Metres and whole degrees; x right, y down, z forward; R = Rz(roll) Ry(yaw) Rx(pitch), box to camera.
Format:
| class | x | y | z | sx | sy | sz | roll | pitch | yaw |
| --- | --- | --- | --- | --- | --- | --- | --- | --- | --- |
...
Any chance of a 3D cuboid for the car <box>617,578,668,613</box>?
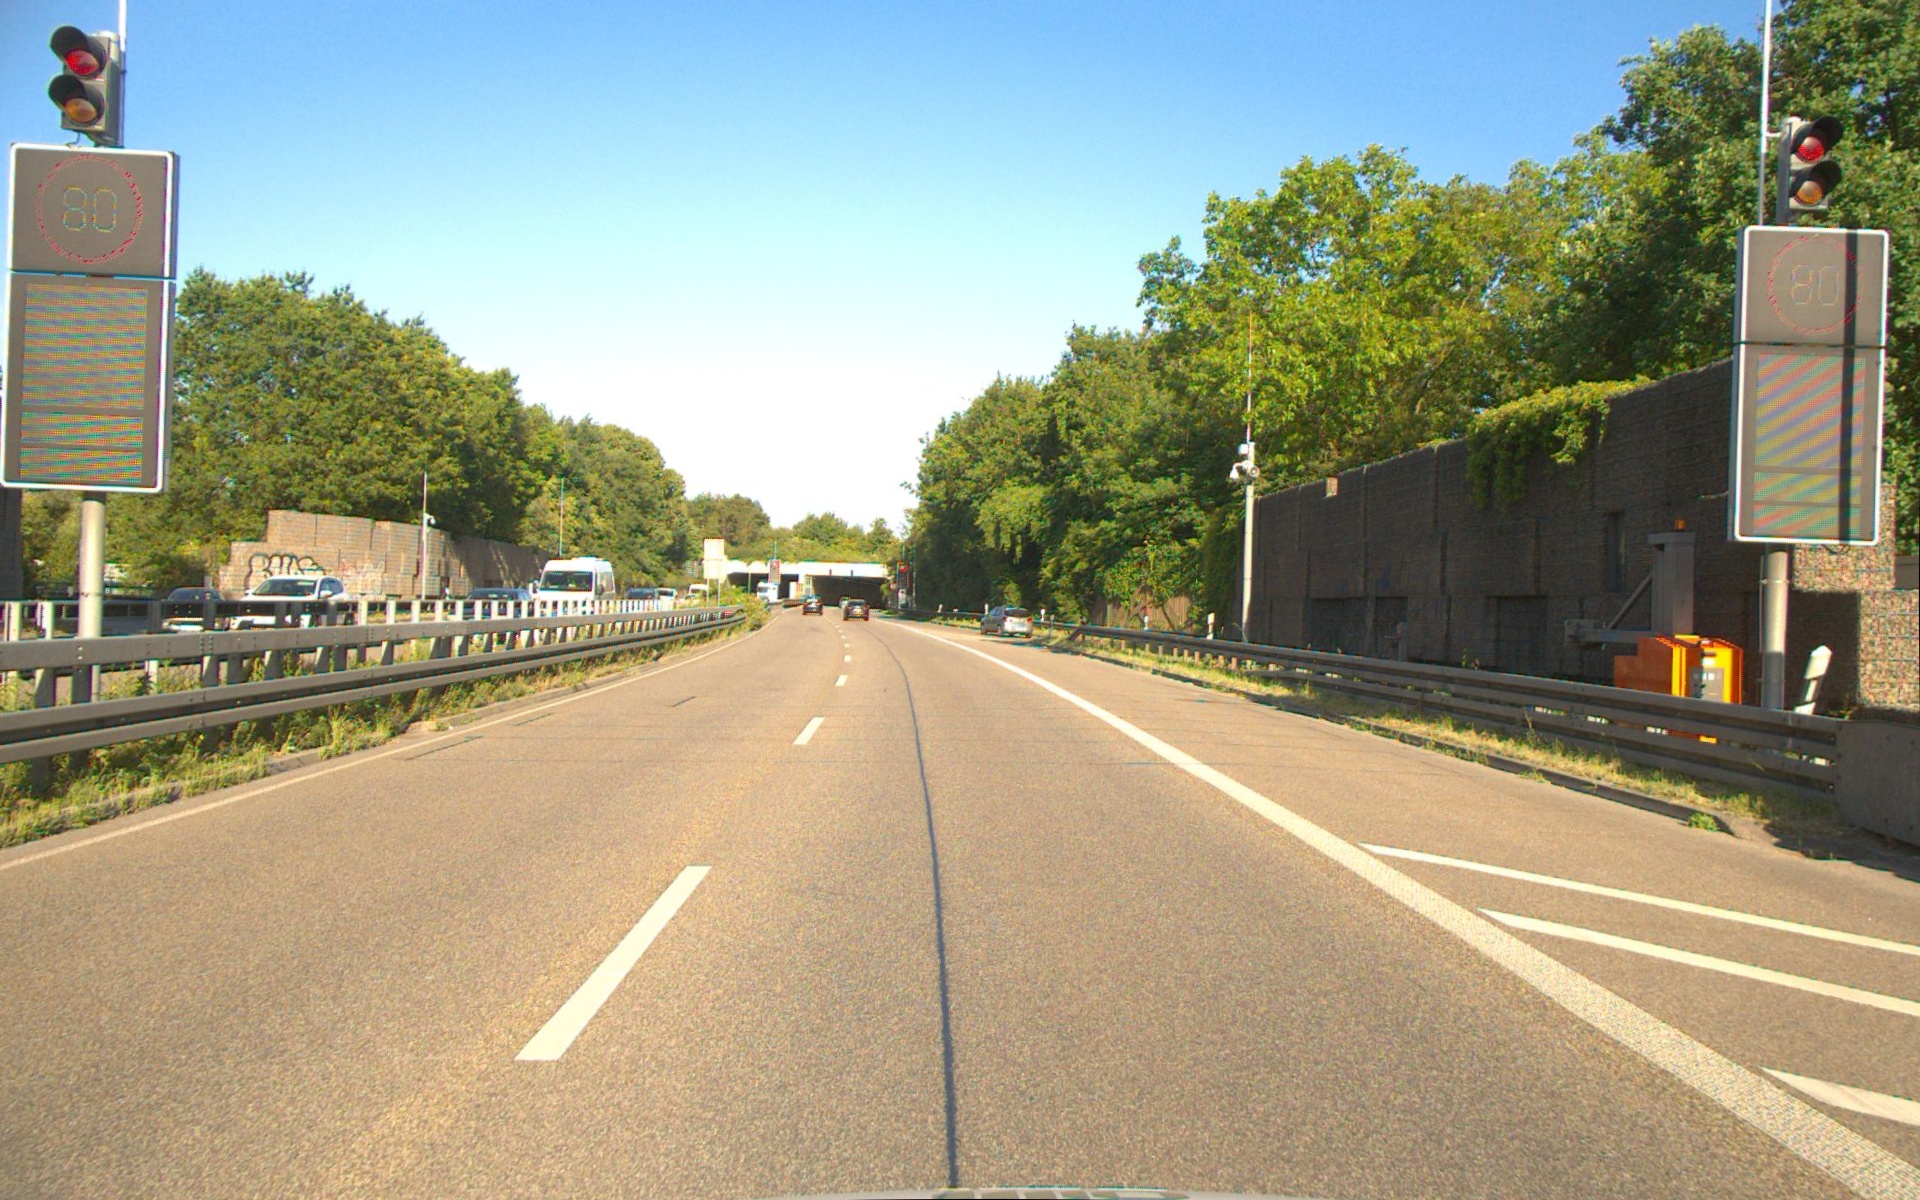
| class | x | y | z | sx | sy | sz | roll | pitch | yaw |
| --- | --- | --- | --- | --- | --- | --- | --- | --- | --- |
| car | -15.381 | -0.246 | 80.272 | 1.954 | 1.606 | 4.244 | 0 | 1 | -4 |

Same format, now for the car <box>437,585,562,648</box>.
| class | x | y | z | sx | sy | sz | roll | pitch | yaw |
| --- | --- | --- | --- | --- | --- | --- | --- | --- | --- |
| car | -12.155 | 0.397 | 44.040 | 1.953 | 1.459 | 5.088 | 3 | 1 | -2 |

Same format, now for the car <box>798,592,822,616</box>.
| class | x | y | z | sx | sy | sz | roll | pitch | yaw |
| --- | --- | --- | --- | --- | --- | --- | --- | --- | --- |
| car | -13.209 | 0.313 | 145.598 | 1.956 | 1.959 | 3.994 | 2 | 0 | -8 |

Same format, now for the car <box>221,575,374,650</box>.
| class | x | y | z | sx | sy | sz | roll | pitch | yaw |
| --- | --- | --- | --- | --- | --- | --- | --- | --- | --- |
| car | -16.211 | 0.258 | 40.739 | 1.953 | 1.623 | 4.620 | 3 | 1 | -2 |

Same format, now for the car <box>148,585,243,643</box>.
| class | x | y | z | sx | sy | sz | roll | pitch | yaw |
| --- | --- | --- | --- | --- | --- | --- | --- | --- | --- |
| car | -21.798 | 0.385 | 47.283 | 1.963 | 1.412 | 4.008 | 3 | 1 | -19 |

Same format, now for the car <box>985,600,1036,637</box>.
| class | x | y | z | sx | sy | sz | roll | pitch | yaw |
| --- | --- | --- | --- | --- | --- | --- | --- | --- | --- |
| car | 2.447 | 0.895 | 81.372 | 1.637 | 1.579 | 3.991 | 3 | 1 | -10 |

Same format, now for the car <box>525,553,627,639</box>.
| class | x | y | z | sx | sy | sz | roll | pitch | yaw |
| --- | --- | --- | --- | --- | --- | --- | --- | --- | --- |
| car | -13.388 | -0.164 | 58.078 | 2.078 | 2.730 | 6.586 | 3 | 1 | -2 |

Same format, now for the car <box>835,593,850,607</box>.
| class | x | y | z | sx | sy | sz | roll | pitch | yaw |
| --- | --- | --- | --- | --- | --- | --- | --- | --- | --- |
| car | -17.395 | -0.063 | 244.755 | 1.955 | 1.959 | 3.995 | 2 | 0 | -6 |

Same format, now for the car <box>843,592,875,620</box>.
| class | x | y | z | sx | sy | sz | roll | pitch | yaw |
| --- | --- | --- | --- | --- | --- | --- | --- | --- | --- |
| car | -7.309 | 0.421 | 119.607 | 1.956 | 1.959 | 3.994 | 2 | 0 | -8 |
